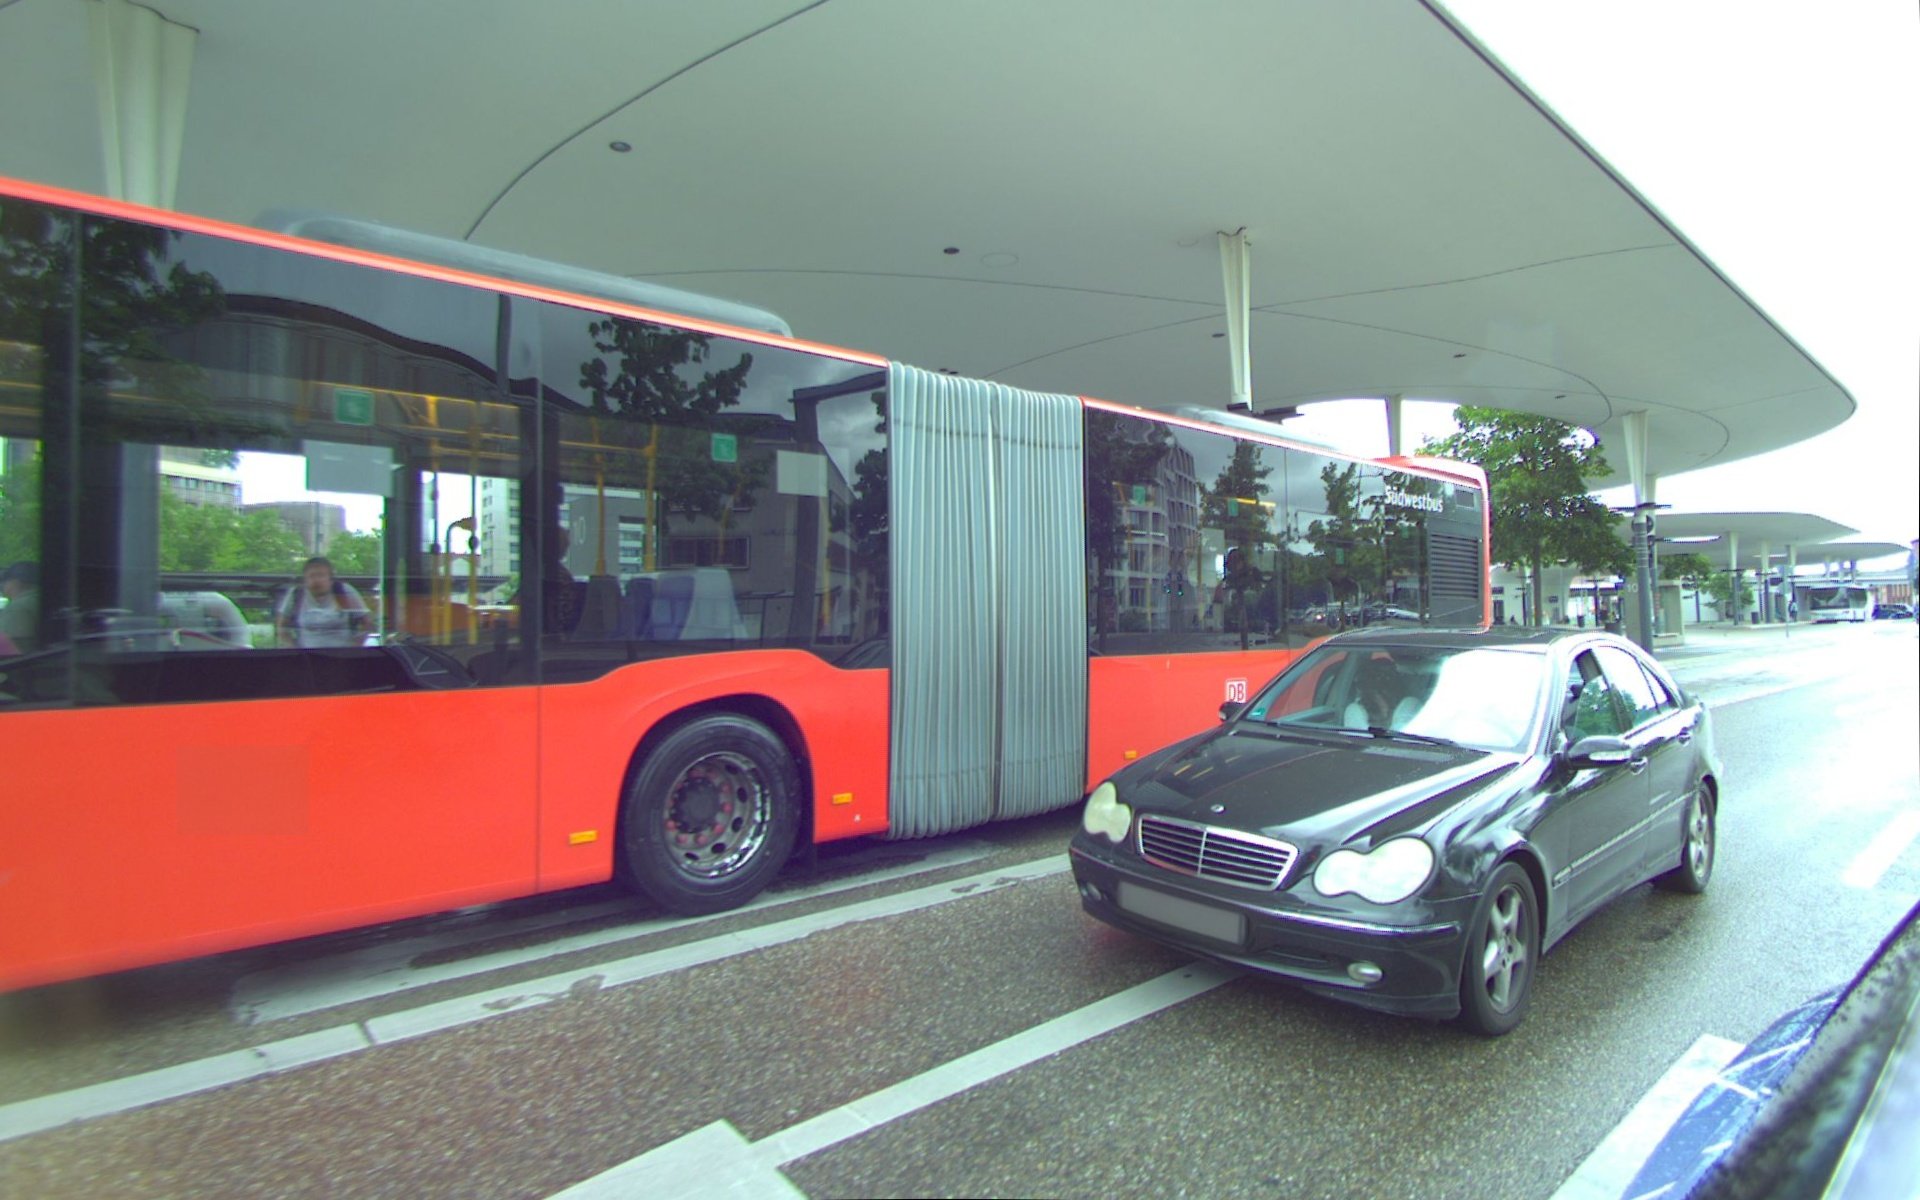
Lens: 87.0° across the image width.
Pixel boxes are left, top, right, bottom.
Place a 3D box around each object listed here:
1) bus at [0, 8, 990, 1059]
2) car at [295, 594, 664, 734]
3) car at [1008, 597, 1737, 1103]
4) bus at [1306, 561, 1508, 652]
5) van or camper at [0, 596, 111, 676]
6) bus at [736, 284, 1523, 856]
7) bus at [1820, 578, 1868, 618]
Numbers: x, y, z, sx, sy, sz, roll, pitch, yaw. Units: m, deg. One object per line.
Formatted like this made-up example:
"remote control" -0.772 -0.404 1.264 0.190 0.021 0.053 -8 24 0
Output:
"bus" -4.493 -0.205 3.557 10.016 3.214 2.747 0 -1 -41
"car" -6.604 0.791 14.182 4.355 1.670 1.803 0 -2 -41
"car" 2.399 0.759 5.164 4.360 1.499 1.747 0 -1 -43
"bus" 19.146 0.332 42.672 12.145 3.148 2.997 0 -7 -43
"van or camper" -30.885 1.122 32.239 5.868 2.495 2.106 0 -1 -41
"bus" 2.170 -0.169 9.353 7.978 3.214 2.747 0 -1 -41
"bus" 74.203 -0.180 84.850 2.666 3.170 9.565 -1 -1 43
